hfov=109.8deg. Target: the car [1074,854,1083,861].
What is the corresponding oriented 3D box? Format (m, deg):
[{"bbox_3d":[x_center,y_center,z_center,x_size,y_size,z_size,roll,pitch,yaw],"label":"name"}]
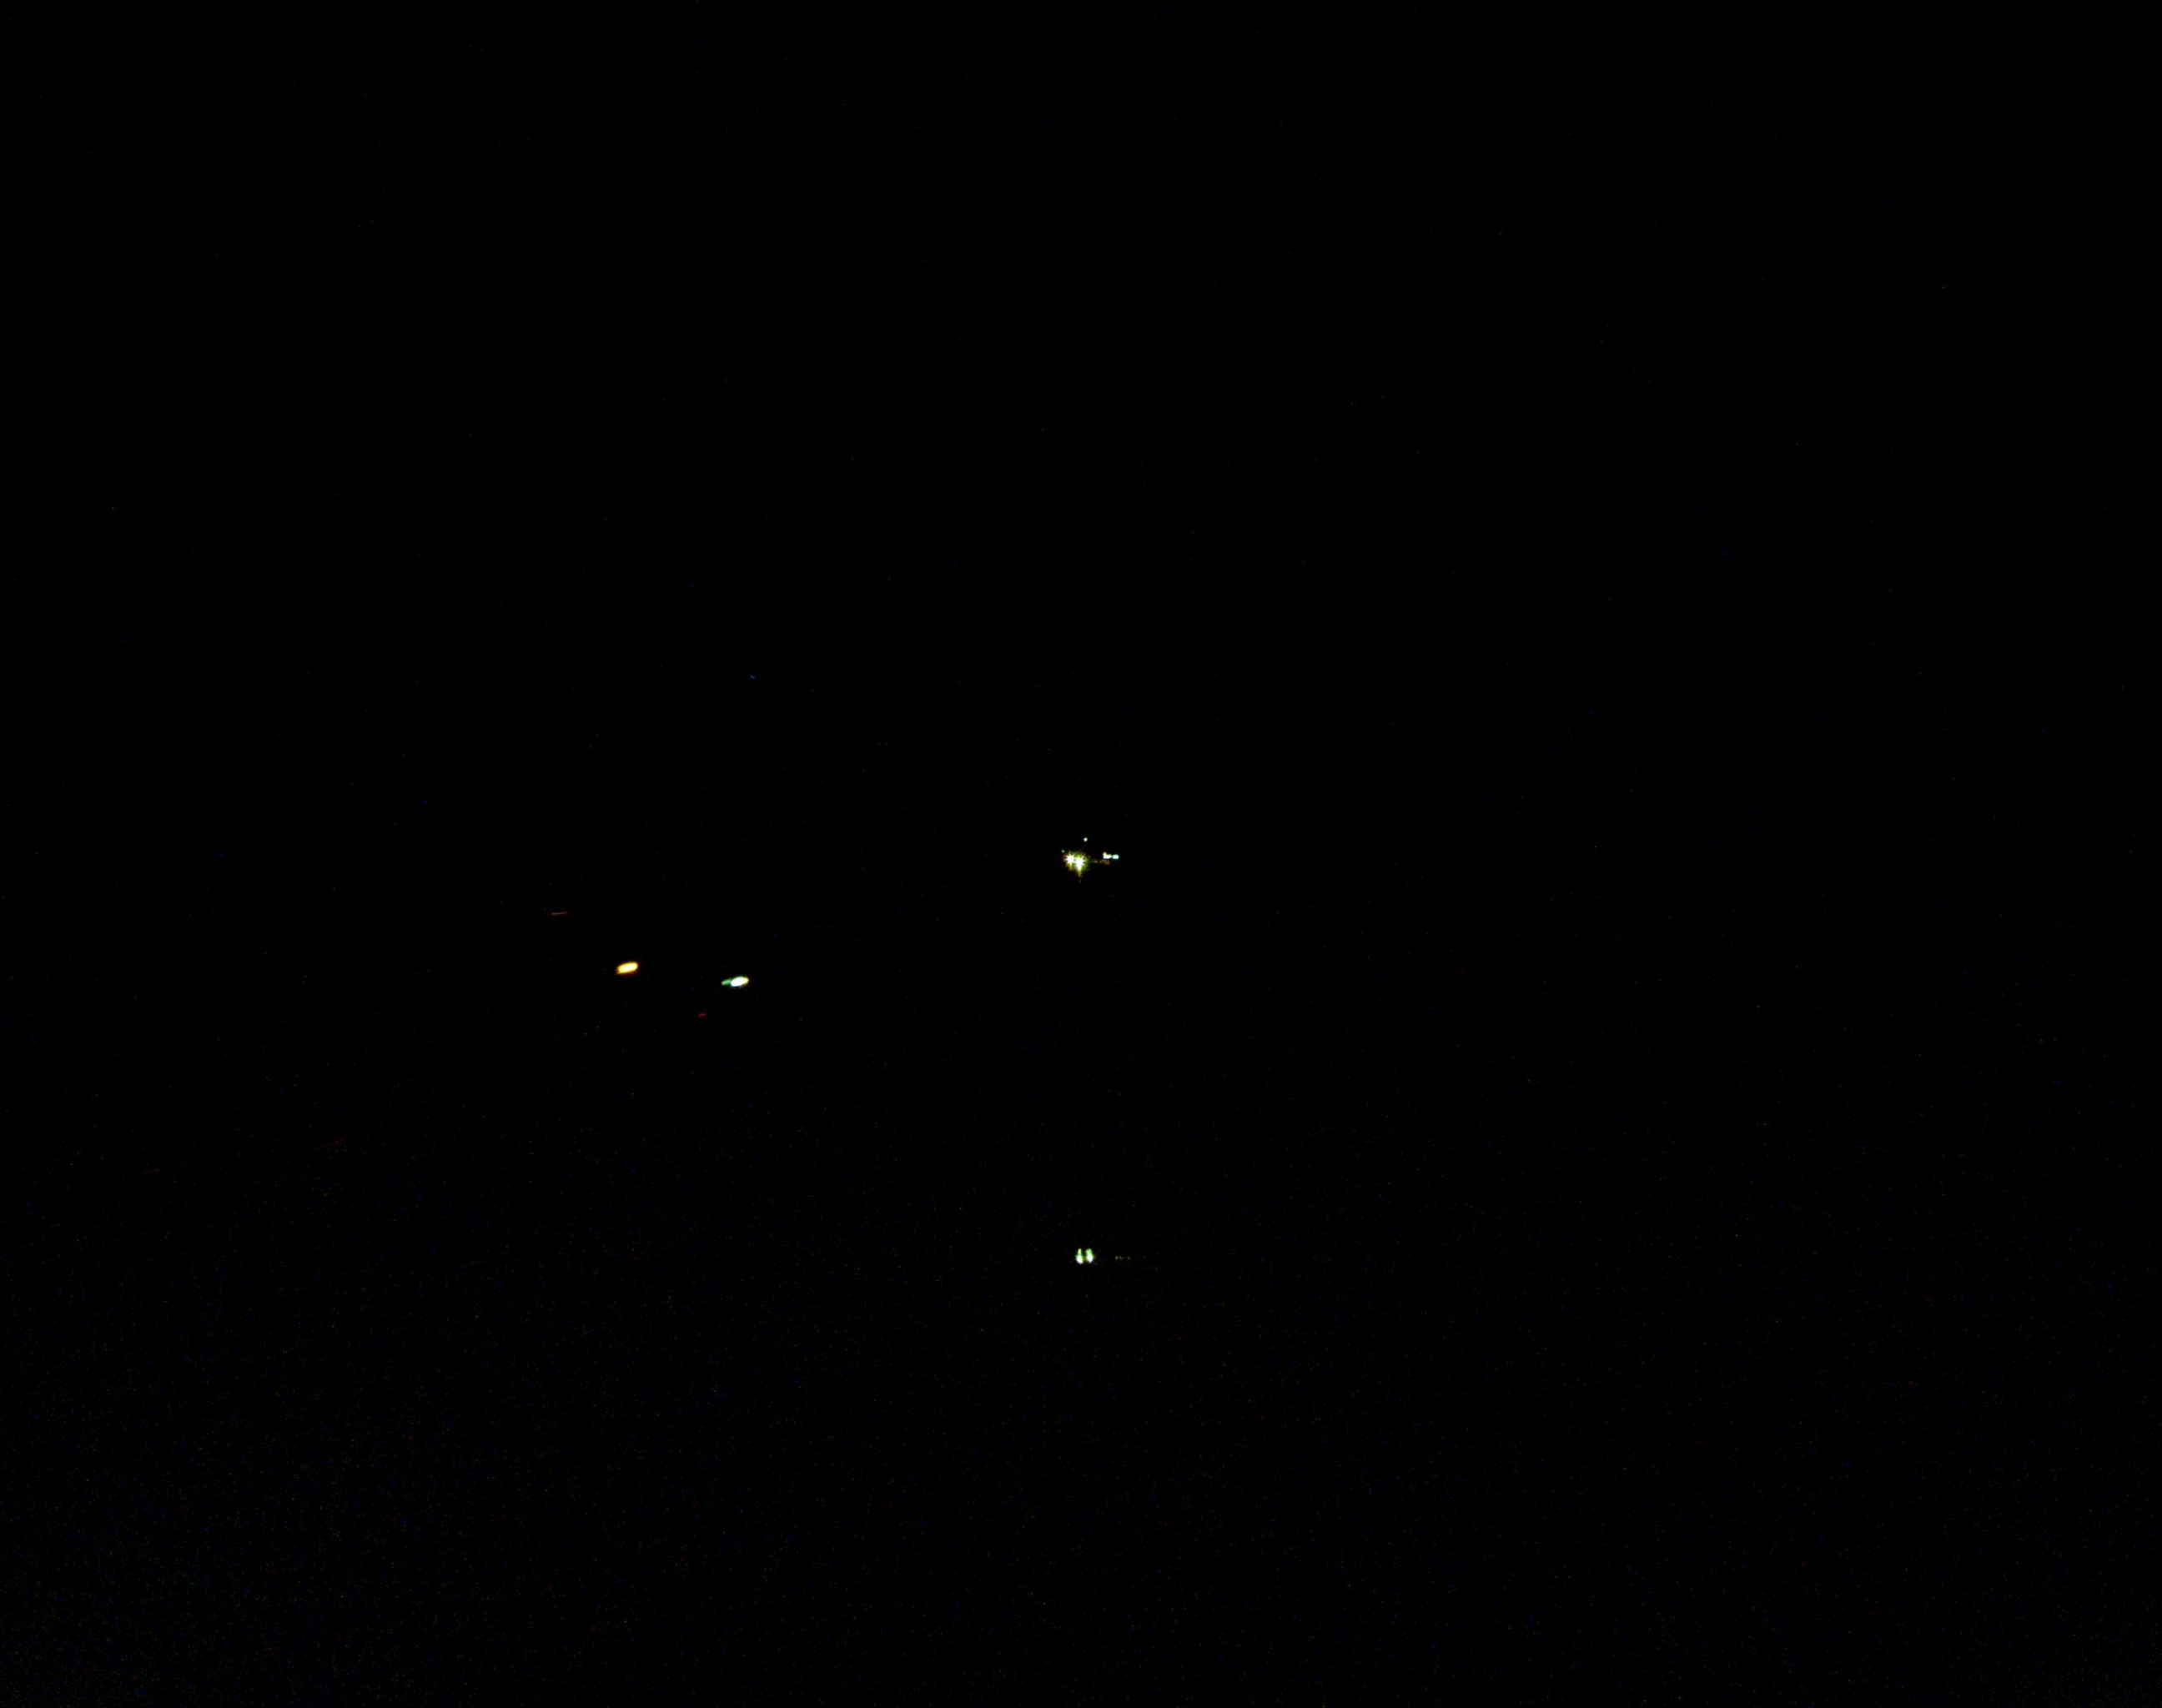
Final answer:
[{"bbox_3d":[-0.519,0.709,144.918,1.570,1.336,4.166,-2,0,-1],"label":"car"}]
